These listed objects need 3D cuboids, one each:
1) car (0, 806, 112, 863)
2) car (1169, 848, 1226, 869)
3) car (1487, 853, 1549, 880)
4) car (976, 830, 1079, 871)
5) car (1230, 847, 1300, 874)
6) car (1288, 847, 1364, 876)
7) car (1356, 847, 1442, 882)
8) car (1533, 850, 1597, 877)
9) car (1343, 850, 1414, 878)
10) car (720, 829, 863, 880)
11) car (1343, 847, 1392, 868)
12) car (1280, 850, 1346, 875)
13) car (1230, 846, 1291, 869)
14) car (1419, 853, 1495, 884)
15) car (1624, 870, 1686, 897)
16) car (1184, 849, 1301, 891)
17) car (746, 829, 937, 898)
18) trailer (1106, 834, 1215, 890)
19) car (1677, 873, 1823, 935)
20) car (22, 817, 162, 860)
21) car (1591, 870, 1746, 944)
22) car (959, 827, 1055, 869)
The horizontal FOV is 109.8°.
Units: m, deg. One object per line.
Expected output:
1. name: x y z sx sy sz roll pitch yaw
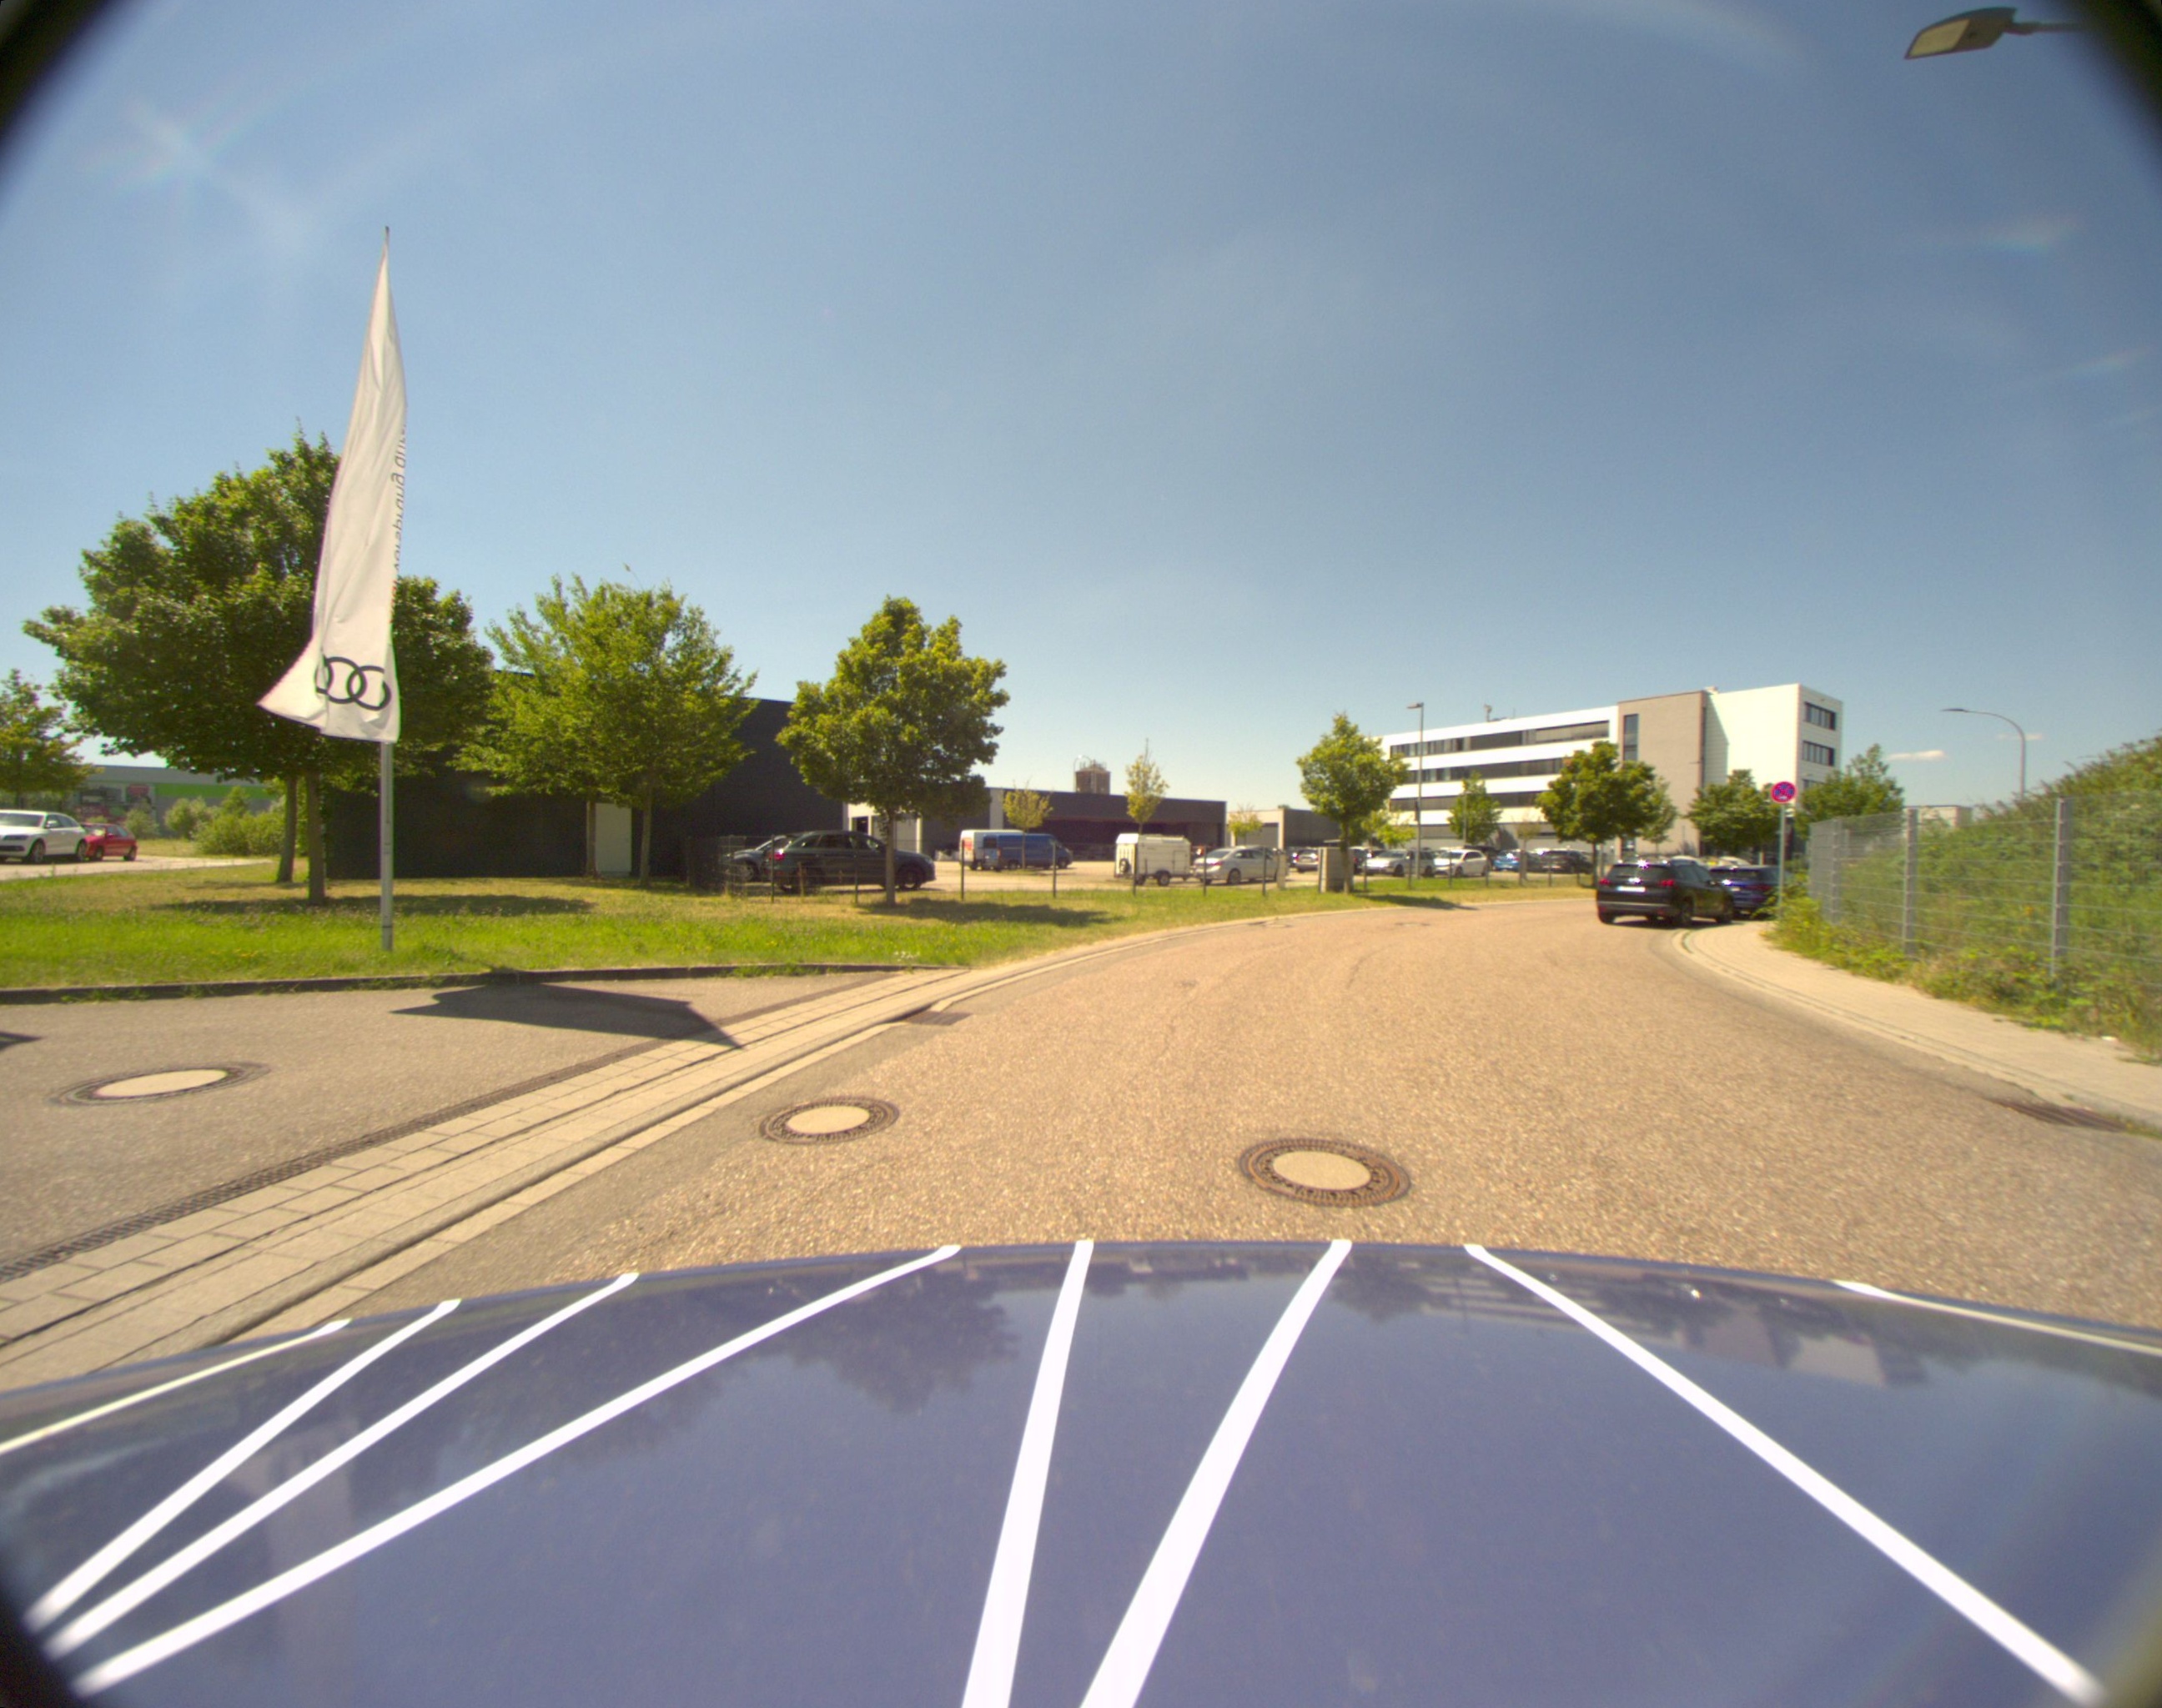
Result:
1. car: -33.350 -0.645 24.082 1.829 1.637 4.384 3 0 -32
2. car: 8.800 0.342 57.202 3.932 1.490 1.850 1 0 -32
3. car: 28.274 0.832 49.127 3.933 1.445 1.828 4 -3 -33
4. car: -3.167 -0.288 45.790 5.843 2.213 2.138 -2 3 -35
5. car: 11.183 0.421 46.172 3.932 1.490 1.850 2 1 -32
6. car: 13.482 0.437 41.758 3.932 1.490 1.850 1 0 -32
7. car: 15.716 0.527 37.464 4.299 1.490 1.850 4 -2 -34
8. car: 29.857 0.595 46.841 3.932 1.565 1.827 1 1 -33
9. car: 17.479 0.594 44.641 3.933 1.490 1.850 2 1 -32
10. car: -9.763 0.031 25.724 4.180 1.558 1.775 2 1 -35
11. car: 24.142 0.331 64.053 3.933 1.527 1.828 4 -3 -31
12. car: 14.776 0.547 48.377 3.932 1.490 1.850 1 0 -32
13. car: 12.561 0.208 53.111 3.931 1.490 1.850 -1 2 -32
14. car: 20.149 0.755 40.699 3.931 1.490 1.850 -1 2 -32
15. car: 35.506 1.845 47.003 3.933 1.445 1.828 4 -3 -33
16. car: 6.750 0.599 31.588 4.864 1.490 1.850 -2 2 -32
17. car: -6.025 0.184 19.323 4.291 1.592 1.775 0 2 -34
18. trailer: 3.069 0.325 29.215 3.746 1.987 1.850 3 -1 -33
19. car: 18.392 1.300 20.851 4.290 1.446 1.935 1 1 -34
20. car: -36.922 -0.578 28.520 1.829 1.433 4.101 3 0 -32
21. car: 14.054 1.187 18.118 4.140 1.546 1.655 1 0 -34
22. car: -4.628 -0.412 48.096 5.688 2.443 2.190 -2 2 -35
